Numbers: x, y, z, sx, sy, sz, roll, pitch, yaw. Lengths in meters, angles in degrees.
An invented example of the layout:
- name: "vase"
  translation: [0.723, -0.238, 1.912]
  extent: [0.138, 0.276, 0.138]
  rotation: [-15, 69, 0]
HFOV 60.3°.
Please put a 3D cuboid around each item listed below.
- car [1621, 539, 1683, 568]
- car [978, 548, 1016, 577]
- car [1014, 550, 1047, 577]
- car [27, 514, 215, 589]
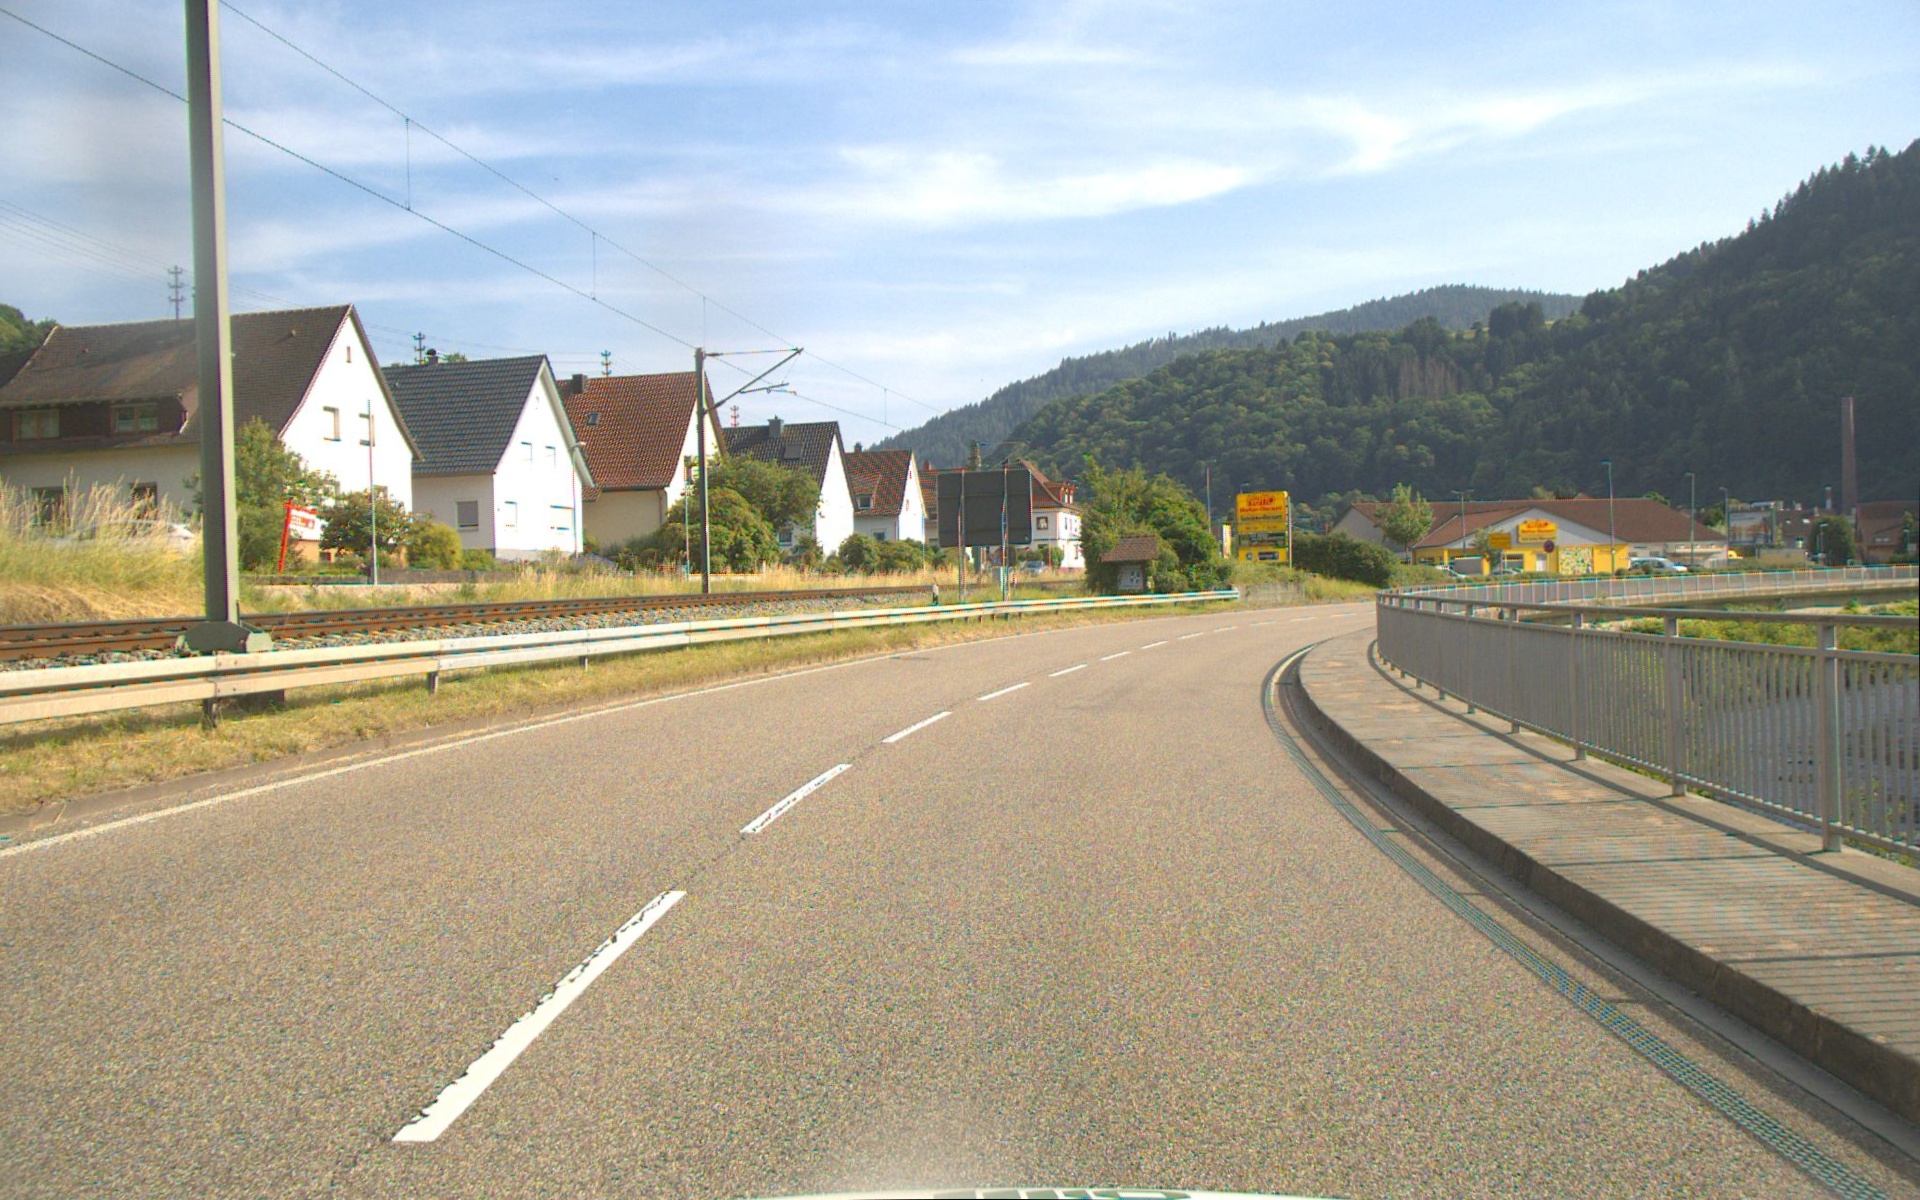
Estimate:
- name: "car"
  translation: [53.250, -3.552, 127.279]
  extent: [1.983, 2.049, 3.938]
  rotation: [4, -2, -42]
- name: "car"
  translation: [2.744, -2.723, 121.258]
  extent: [1.952, 1.913, 4.004]
  rotation: [6, 1, 11]
- name: "car"
  translation: [5.734, -2.983, 134.648]
  extent: [1.952, 1.913, 4.004]
  rotation: [6, 1, 11]
- name: "car"
  translation: [-20.281, -1.206, 40.150]
  extent: [3.964, 1.703, 1.636]
  rotation: [-1, 4, -26]
